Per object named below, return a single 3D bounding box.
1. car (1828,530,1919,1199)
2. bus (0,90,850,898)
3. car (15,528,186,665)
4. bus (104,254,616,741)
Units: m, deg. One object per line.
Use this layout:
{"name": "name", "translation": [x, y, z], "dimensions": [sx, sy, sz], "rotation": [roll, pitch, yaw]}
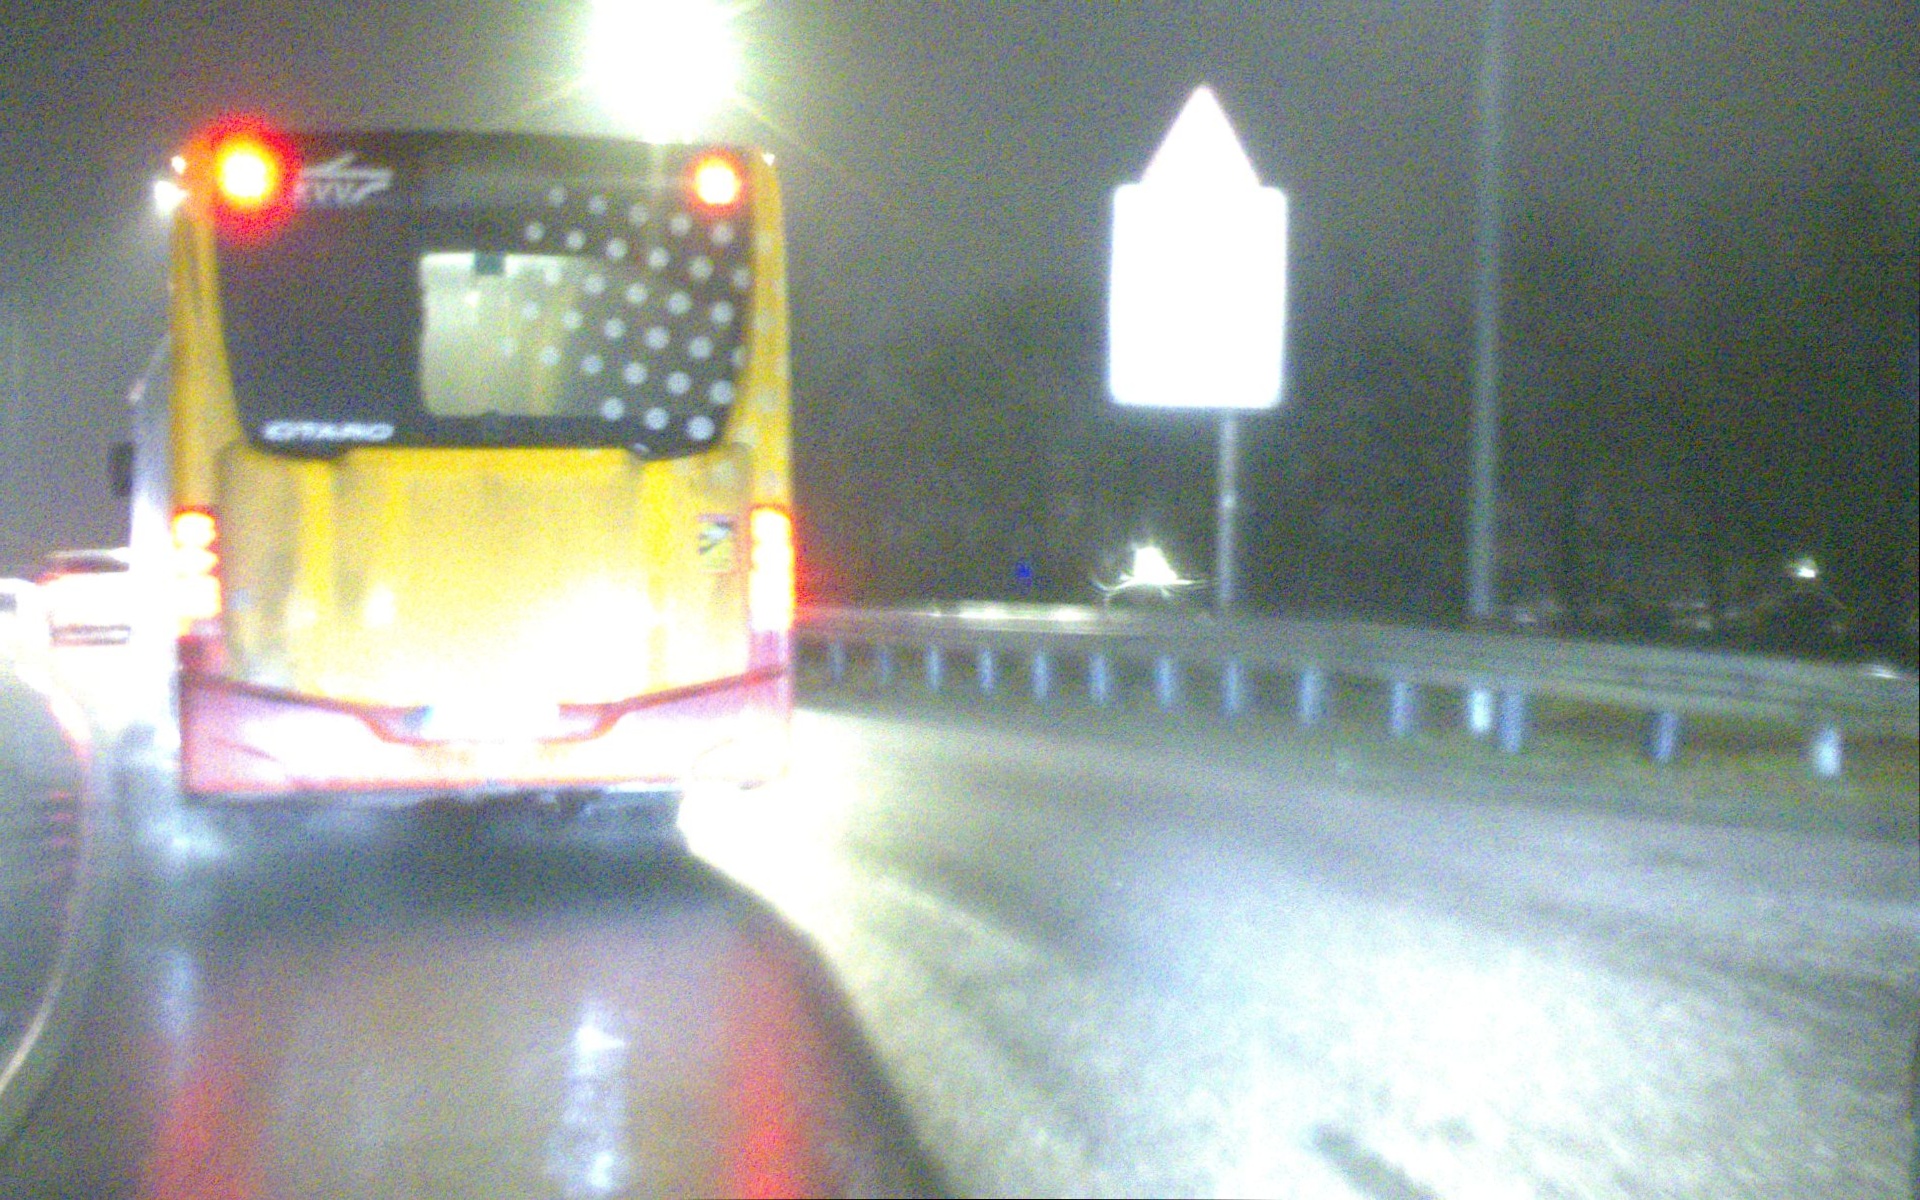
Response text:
{"name": "car", "translation": [2.575, 0.652, 4.297], "dimensions": [1.677, 1.516, 3.961], "rotation": [2, 0, -5]}
{"name": "bus", "translation": [-3.018, -0.688, 17.904], "dimensions": [3.284, 3.039, 9.548], "rotation": [0, 4, -11]}
{"name": "car", "translation": [-13.528, -0.050, 53.956], "dimensions": [1.993, 2.007, 4.350], "rotation": [2, -1, -21]}
{"name": "bus", "translation": [-4.827, -0.789, 26.948], "dimensions": [3.246, 3.110, 8.648], "rotation": [2, 1, -12]}
